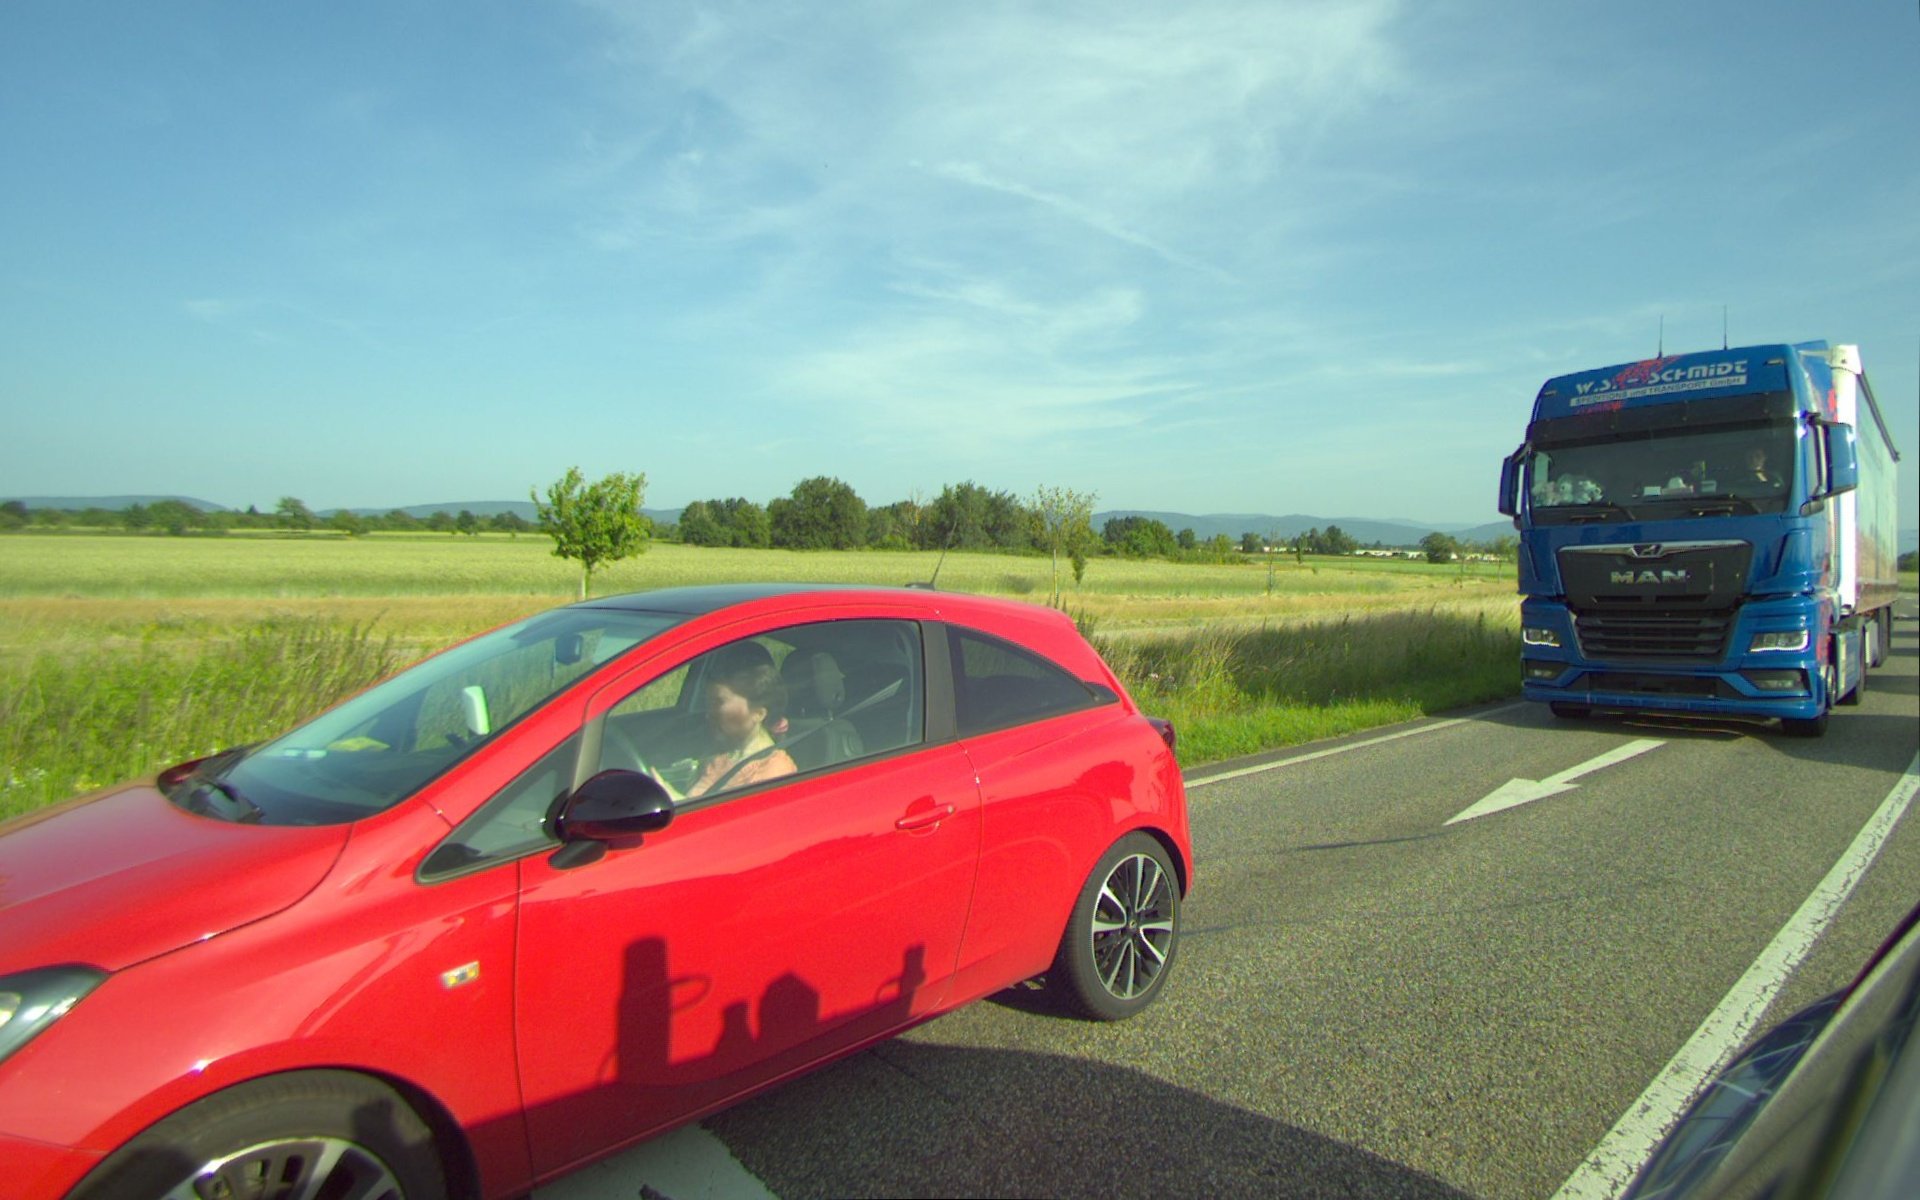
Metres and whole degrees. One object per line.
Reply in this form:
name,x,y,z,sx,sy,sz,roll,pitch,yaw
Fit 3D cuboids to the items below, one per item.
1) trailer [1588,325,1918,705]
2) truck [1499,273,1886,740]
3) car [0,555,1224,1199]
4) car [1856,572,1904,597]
trailer,13.595,-1.068,16.532,2.646,4.028,13.707,0,1,45
truck,8.619,-0.868,11.611,5.853,3.968,2.646,-2,1,-44
car,-0.984,0.630,2.971,3.891,1.482,1.662,-2,2,-44
car,61.661,-1.075,67.865,1.989,1.552,3.947,1,2,37
